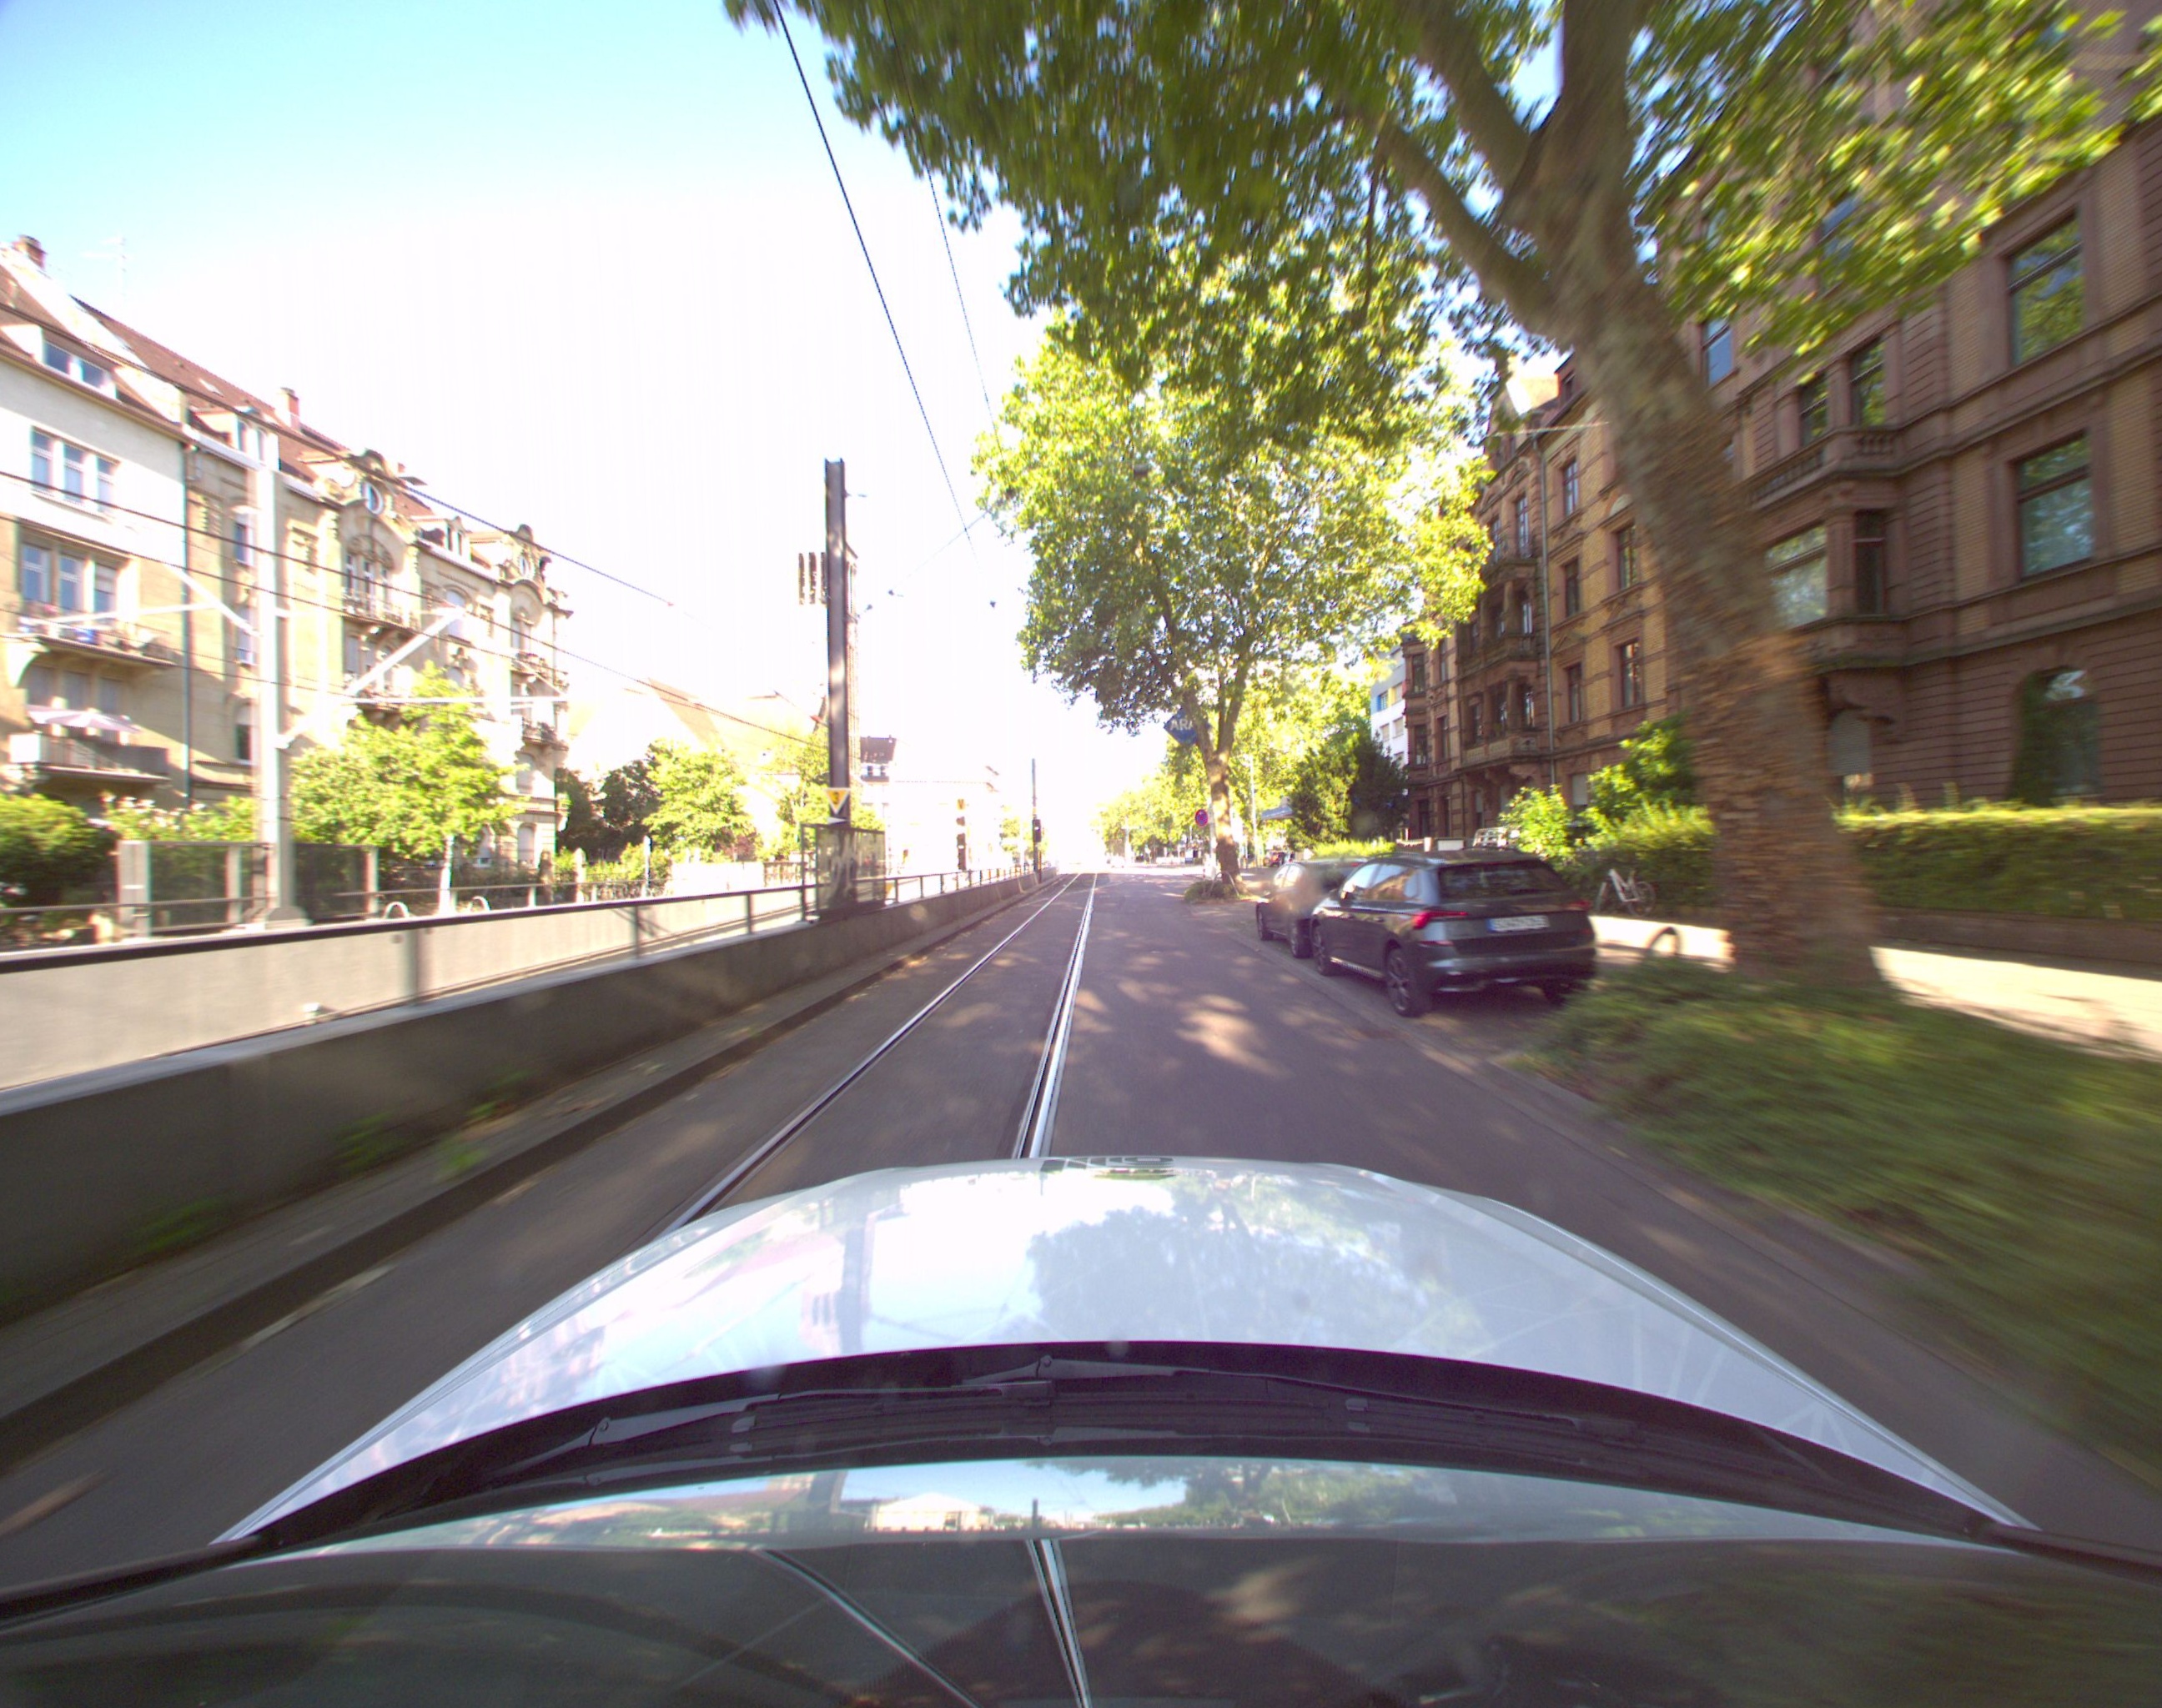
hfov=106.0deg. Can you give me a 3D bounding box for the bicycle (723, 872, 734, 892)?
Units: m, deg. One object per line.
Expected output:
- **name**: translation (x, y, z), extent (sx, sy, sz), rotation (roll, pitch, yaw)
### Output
- **bicycle**: translation (-19.815, 1.567, 45.817), extent (0.487, 1.022, 1.879), rotation (1, 0, -22)

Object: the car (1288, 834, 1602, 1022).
- **car**: translation (3.750, 0.662, 9.338), extent (1.611, 1.587, 4.417), rotation (-2, 0, 1)

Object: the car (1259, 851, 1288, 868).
- **car**: translation (19.995, 0.538, 84.792), extent (1.812, 1.602, 4.660), rotation (-1, 1, -1)

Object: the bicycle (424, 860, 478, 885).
- **bicycle**: translation (-26.837, 0.777, 34.731), extent (0.502, 1.018, 2.115), rotation (1, 0, 5)

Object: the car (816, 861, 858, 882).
- **car**: translation (-19.402, 1.339, 64.891), extent (1.708, 1.555, 4.513), rotation (1, 0, 3)

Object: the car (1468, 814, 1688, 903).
- **car**: translation (12.956, 0.130, 21.441), extent (4.557, 2.013, 1.914), rotation (-3, -1, 0)

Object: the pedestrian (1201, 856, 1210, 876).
- **pedestrian**: translation (11.054, 1.046, 72.121), extent (0.600, 1.776, 0.880), rotation (-5, -1, 5)

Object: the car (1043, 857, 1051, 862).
- **car**: translation (-9.933, 1.692, 236.351), extent (1.986, 1.449, 4.842), rotation (-1, 0, 2)

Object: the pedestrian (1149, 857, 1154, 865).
- **pedestrian**: translation (13.508, 1.340, 156.155), extent (0.653, 1.388, 0.837), rotation (1, 0, 33)

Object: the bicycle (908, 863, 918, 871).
- **bicycle**: translation (-27.767, 2.086, 134.845), extent (0.826, 1.283, 2.541), rotation (1, 0, -29)

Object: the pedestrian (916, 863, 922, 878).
- **pedestrian**: translation (-20.926, 2.138, 105.249), extent (0.602, 1.887, 0.757), rotation (1, 0, 4)

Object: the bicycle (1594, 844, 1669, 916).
- **bicycle**: translation (10.184, 0.463, 15.116), extent (0.336, 1.250, 1.769), rotation (1, 0, 5)

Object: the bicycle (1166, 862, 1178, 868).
- **bicycle**: translation (15.333, 1.812, 136.703), extent (1.200, 0.934, 2.562), rotation (1, 0, -13)

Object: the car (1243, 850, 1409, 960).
- **car**: translation (3.884, 0.738, 13.595), extent (1.546, 1.499, 4.050), rotation (-2, 0, 1)

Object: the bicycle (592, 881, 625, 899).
- **bicycle**: translation (-23.213, 1.751, 40.046), extent (0.414, 0.800, 1.889), rotation (1, 0, 4)

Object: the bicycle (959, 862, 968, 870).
- **bicycle**: translation (-16.405, 1.684, 113.910), extent (0.628, 1.144, 2.284), rotation (-3, 0, 8)

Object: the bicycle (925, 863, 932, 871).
- **bicycle**: translation (-25.474, 2.139, 136.082), extent (0.821, 1.283, 2.558), rotation (1, 0, -7)

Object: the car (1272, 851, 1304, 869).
- **car**: translation (17.099, 0.486, 67.408), extent (1.562, 1.430, 4.099), rotation (-1, 0, 1)

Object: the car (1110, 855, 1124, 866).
- **car**: translation (4.743, 0.827, 107.060), extent (1.739, 1.462, 3.644), rotation (1, 0, 0)

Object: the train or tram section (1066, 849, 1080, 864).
- **train or tram section**: translation (-1.853, 0.630, 191.532), extent (2.941, 3.410, 10.795), rotation (1, 0, 2)
